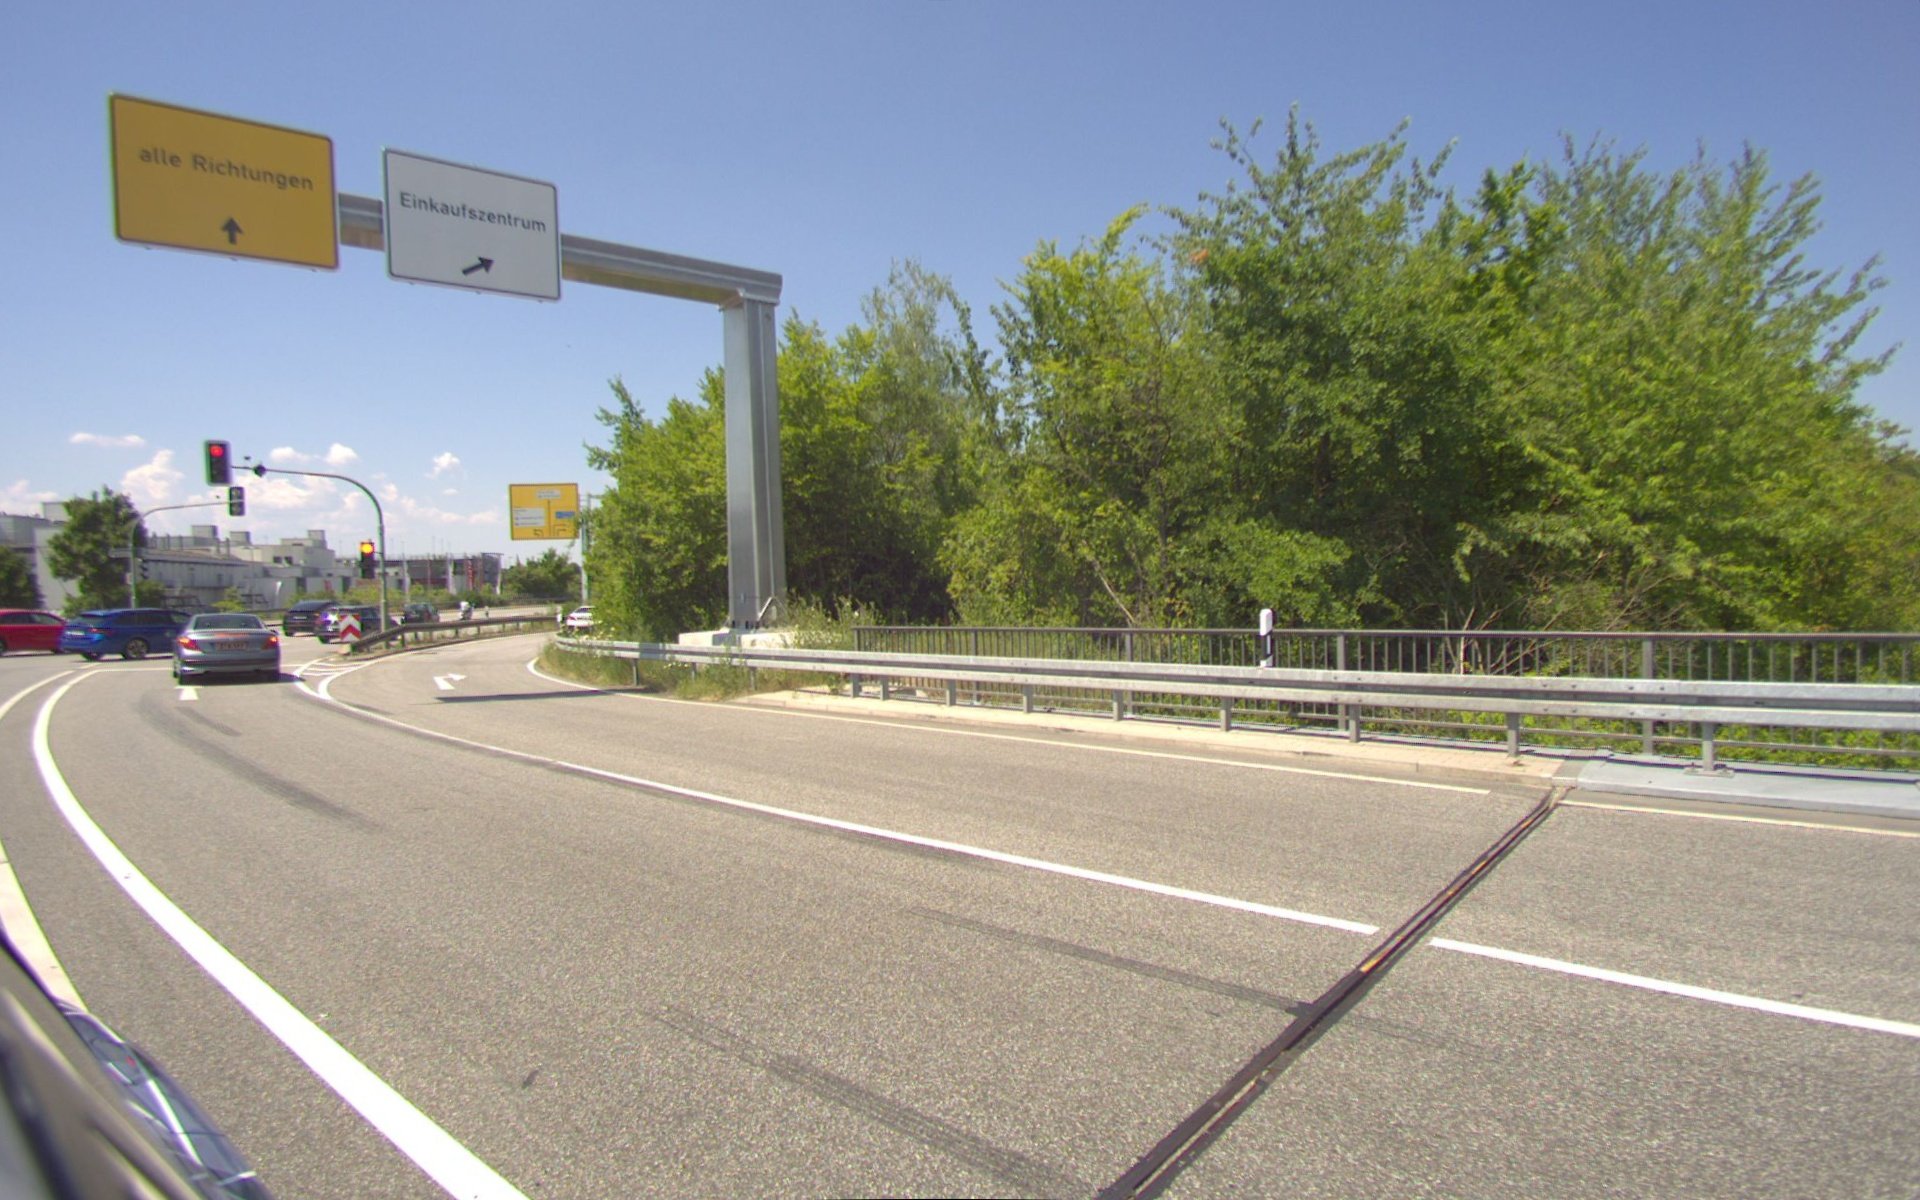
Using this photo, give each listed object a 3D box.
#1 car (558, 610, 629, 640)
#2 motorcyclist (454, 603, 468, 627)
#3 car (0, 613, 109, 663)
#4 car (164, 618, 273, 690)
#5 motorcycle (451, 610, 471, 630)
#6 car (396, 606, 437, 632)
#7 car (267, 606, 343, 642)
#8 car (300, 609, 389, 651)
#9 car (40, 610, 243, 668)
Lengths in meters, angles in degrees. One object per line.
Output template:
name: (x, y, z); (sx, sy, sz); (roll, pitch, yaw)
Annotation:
car: (-18.754, 1.269, 52.040); (1.818, 1.495, 4.835); (0, -1, 1)
motorcyclist: (-34.198, 1.030, 69.328); (0.603, 1.551, 0.848); (0, 2, -7)
car: (-28.938, 1.153, 30.867); (1.651, 1.399, 4.426); (1, 0, 16)
car: (-15.664, 1.077, 21.313); (1.625, 1.362, 3.976); (2, -2, -39)
motorcycle: (-34.202, 1.370, 69.381); (0.569, 1.247, 1.944); (0, 2, -7)
car: (-32.312, 1.110, 60.240); (1.596, 1.418, 3.311); (2, 0, -18)
car: (-30.836, 1.102, 47.786); (1.849, 1.613, 4.519); (1, -1, -17)
car: (-25.019, 1.166, 41.306); (1.754, 1.493, 4.440); (2, 0, -12)
car: (-23.652, 1.086, 29.483); (1.698, 1.473, 4.466); (-1, 0, 16)
